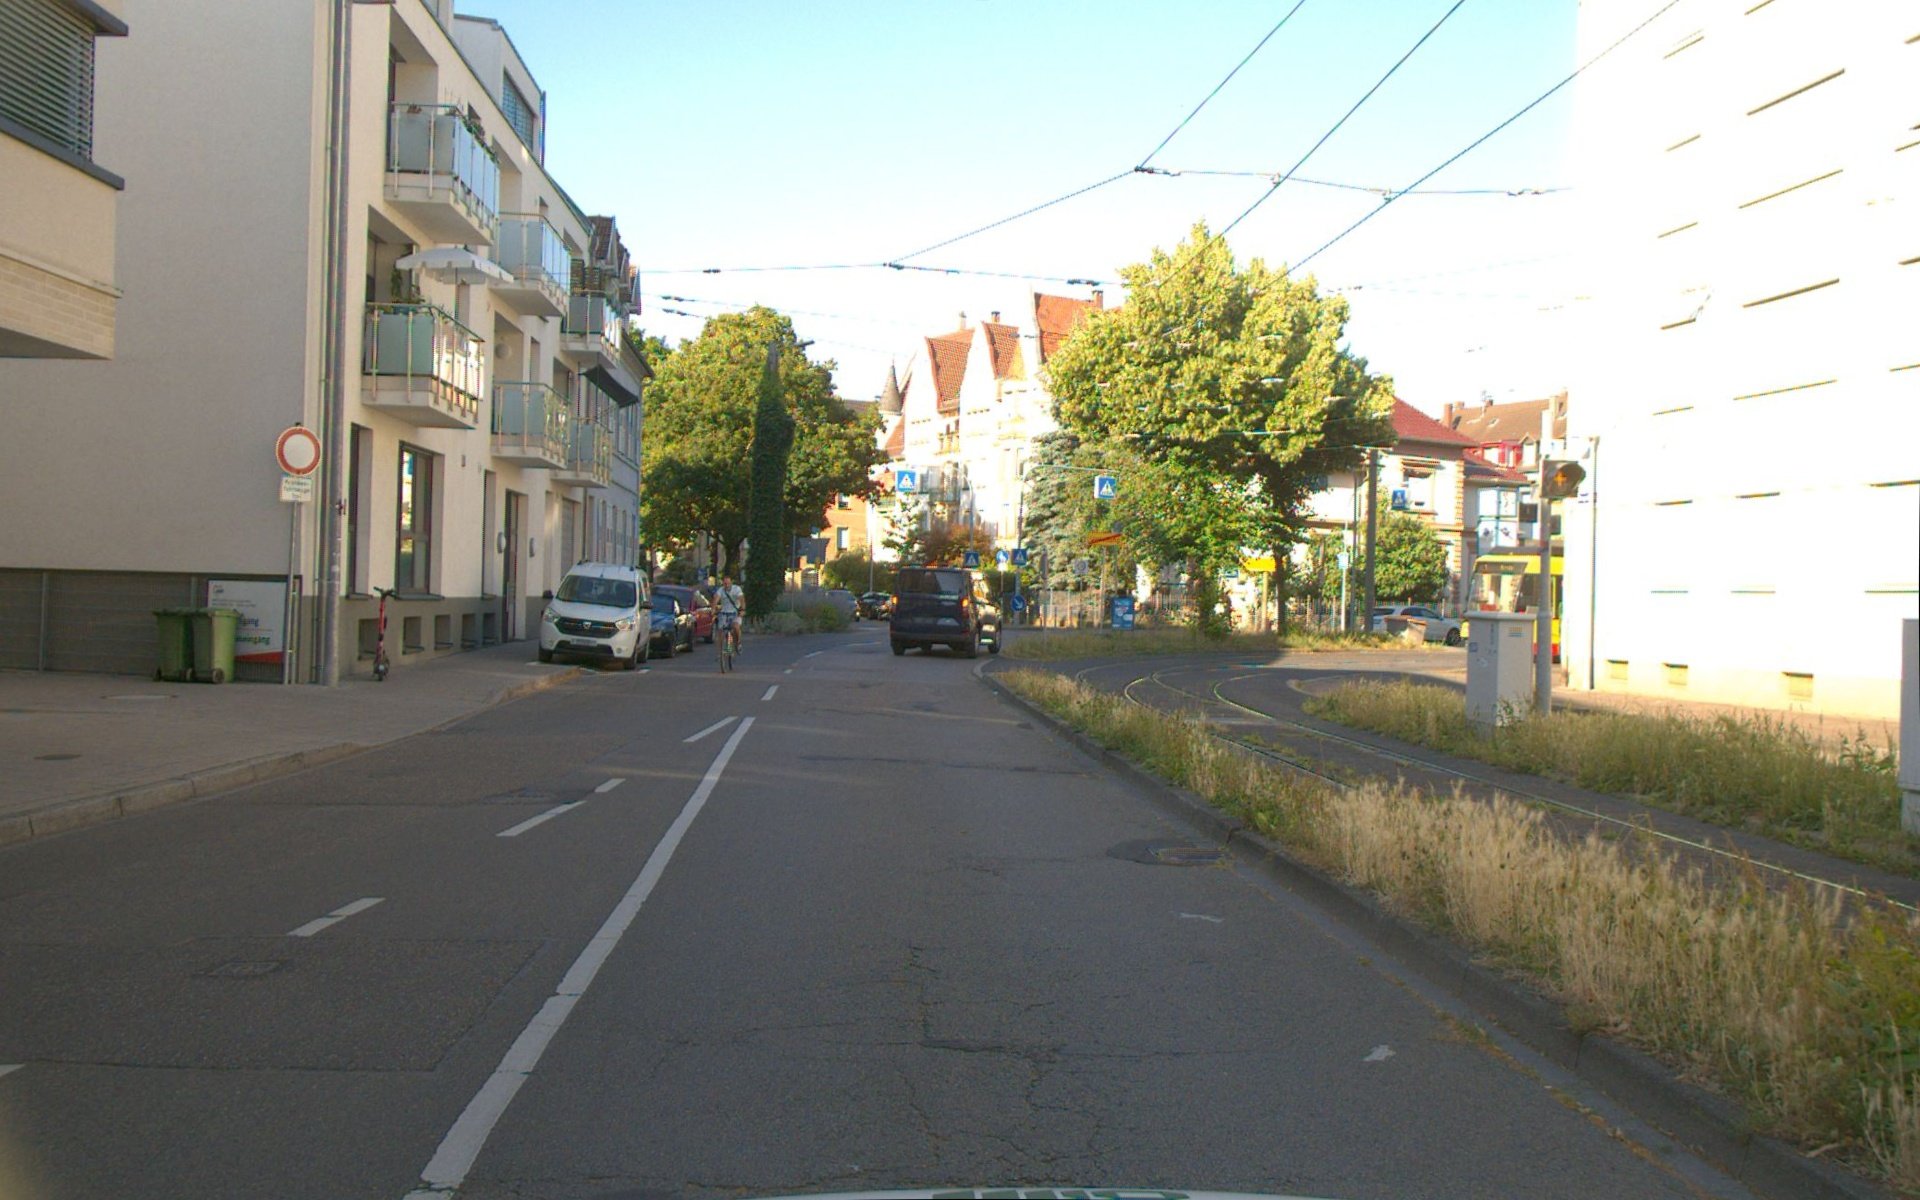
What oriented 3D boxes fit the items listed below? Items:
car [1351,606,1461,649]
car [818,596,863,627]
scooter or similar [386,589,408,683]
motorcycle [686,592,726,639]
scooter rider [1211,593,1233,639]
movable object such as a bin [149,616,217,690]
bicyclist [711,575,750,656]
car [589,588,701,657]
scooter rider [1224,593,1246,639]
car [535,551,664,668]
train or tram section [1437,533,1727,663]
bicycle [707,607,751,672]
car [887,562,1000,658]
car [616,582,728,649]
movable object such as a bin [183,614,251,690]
[{"bbox_3d":[16.735,0.997,62.034,3.627,1.531,1.949,0,0,-26],"label":"car"},{"bbox_3d":[-5.792,0.556,79.941,1.682,1.428,3.726,-1,0,-12],"label":"car"},{"bbox_3d":[-7.812,0.485,22.966,0.221,1.241,1.149,2,1,-18],"label":"scooter or similar"},{"bbox_3d":[-7.816,0.451,50.760,0.915,1.381,2.554,2,0,-15],"label":"motorcycle"},{"bbox_3d":[9.740,0.582,61.513,0.596,1.702,0.651,1,0,-18],"label":"scooter rider"},{"bbox_3d":[-9.908,0.671,21.093,0.537,0.917,0.530,2,-1,19],"label":"movable object such as a bin"},{"bbox_3d":[-4.033,0.277,29.095,0.610,1.404,0.800,0,0,-3],"label":"bicyclist"},{"bbox_3d":[-6.682,0.468,35.494,1.631,1.295,4.025,3,0,-1],"label":"car"},{"bbox_3d":[10.261,0.594,61.701,0.596,1.702,0.651,1,0,-18],"label":"scooter rider"},{"bbox_3d":[-6.586,0.167,30.620,1.776,1.902,4.326,3,0,-6],"label":"car"},{"bbox_3d":[18.786,0.005,49.651,9.789,3.617,2.755,1,0,-32],"label":"train or tram section"},{"bbox_3d":[-4.029,0.674,28.939,0.610,1.100,1.782,0,0,-3],"label":"bicycle"},{"bbox_3d":[-0.316,0.210,38.465,1.951,2.049,4.003,2,1,9],"label":"car"},{"bbox_3d":[-7.150,0.333,41.543,1.673,1.491,4.594,3,1,3],"label":"car"},{"bbox_3d":[-9.383,0.651,20.905,0.537,0.917,0.530,2,-1,19],"label":"movable object such as a bin"}]
